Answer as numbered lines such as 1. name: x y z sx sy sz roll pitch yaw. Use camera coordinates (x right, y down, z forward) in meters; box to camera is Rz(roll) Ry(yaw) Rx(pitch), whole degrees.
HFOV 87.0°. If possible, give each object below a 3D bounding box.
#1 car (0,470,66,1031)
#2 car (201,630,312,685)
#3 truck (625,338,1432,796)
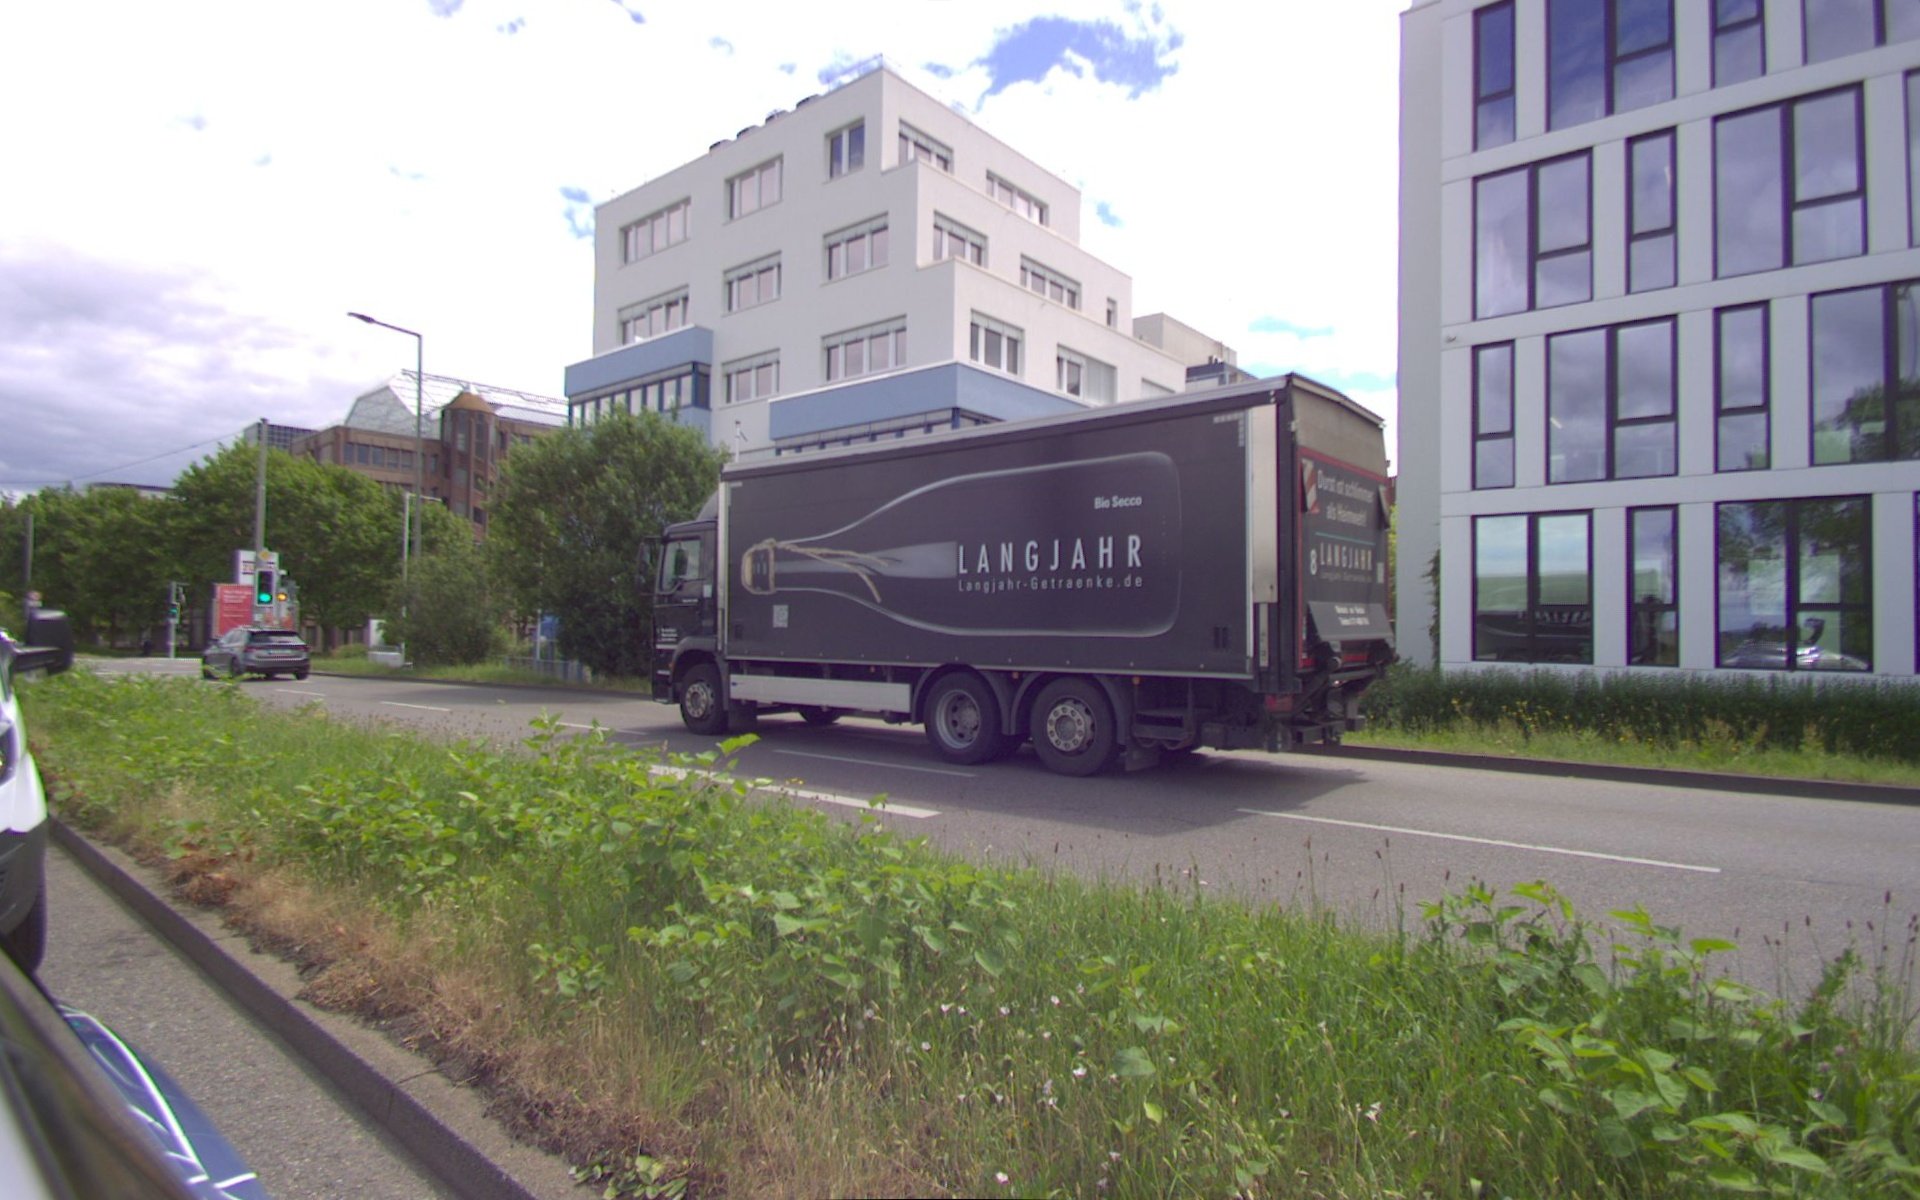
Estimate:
1. car: -5.781 0.571 4.611 5.052 1.965 1.942 -2 -1 41
2. car: -19.439 1.551 27.929 3.775 1.393 1.538 -2 -2 39
3. truck: 0.094 -0.121 12.056 9.515 3.545 3.136 -2 -2 39
